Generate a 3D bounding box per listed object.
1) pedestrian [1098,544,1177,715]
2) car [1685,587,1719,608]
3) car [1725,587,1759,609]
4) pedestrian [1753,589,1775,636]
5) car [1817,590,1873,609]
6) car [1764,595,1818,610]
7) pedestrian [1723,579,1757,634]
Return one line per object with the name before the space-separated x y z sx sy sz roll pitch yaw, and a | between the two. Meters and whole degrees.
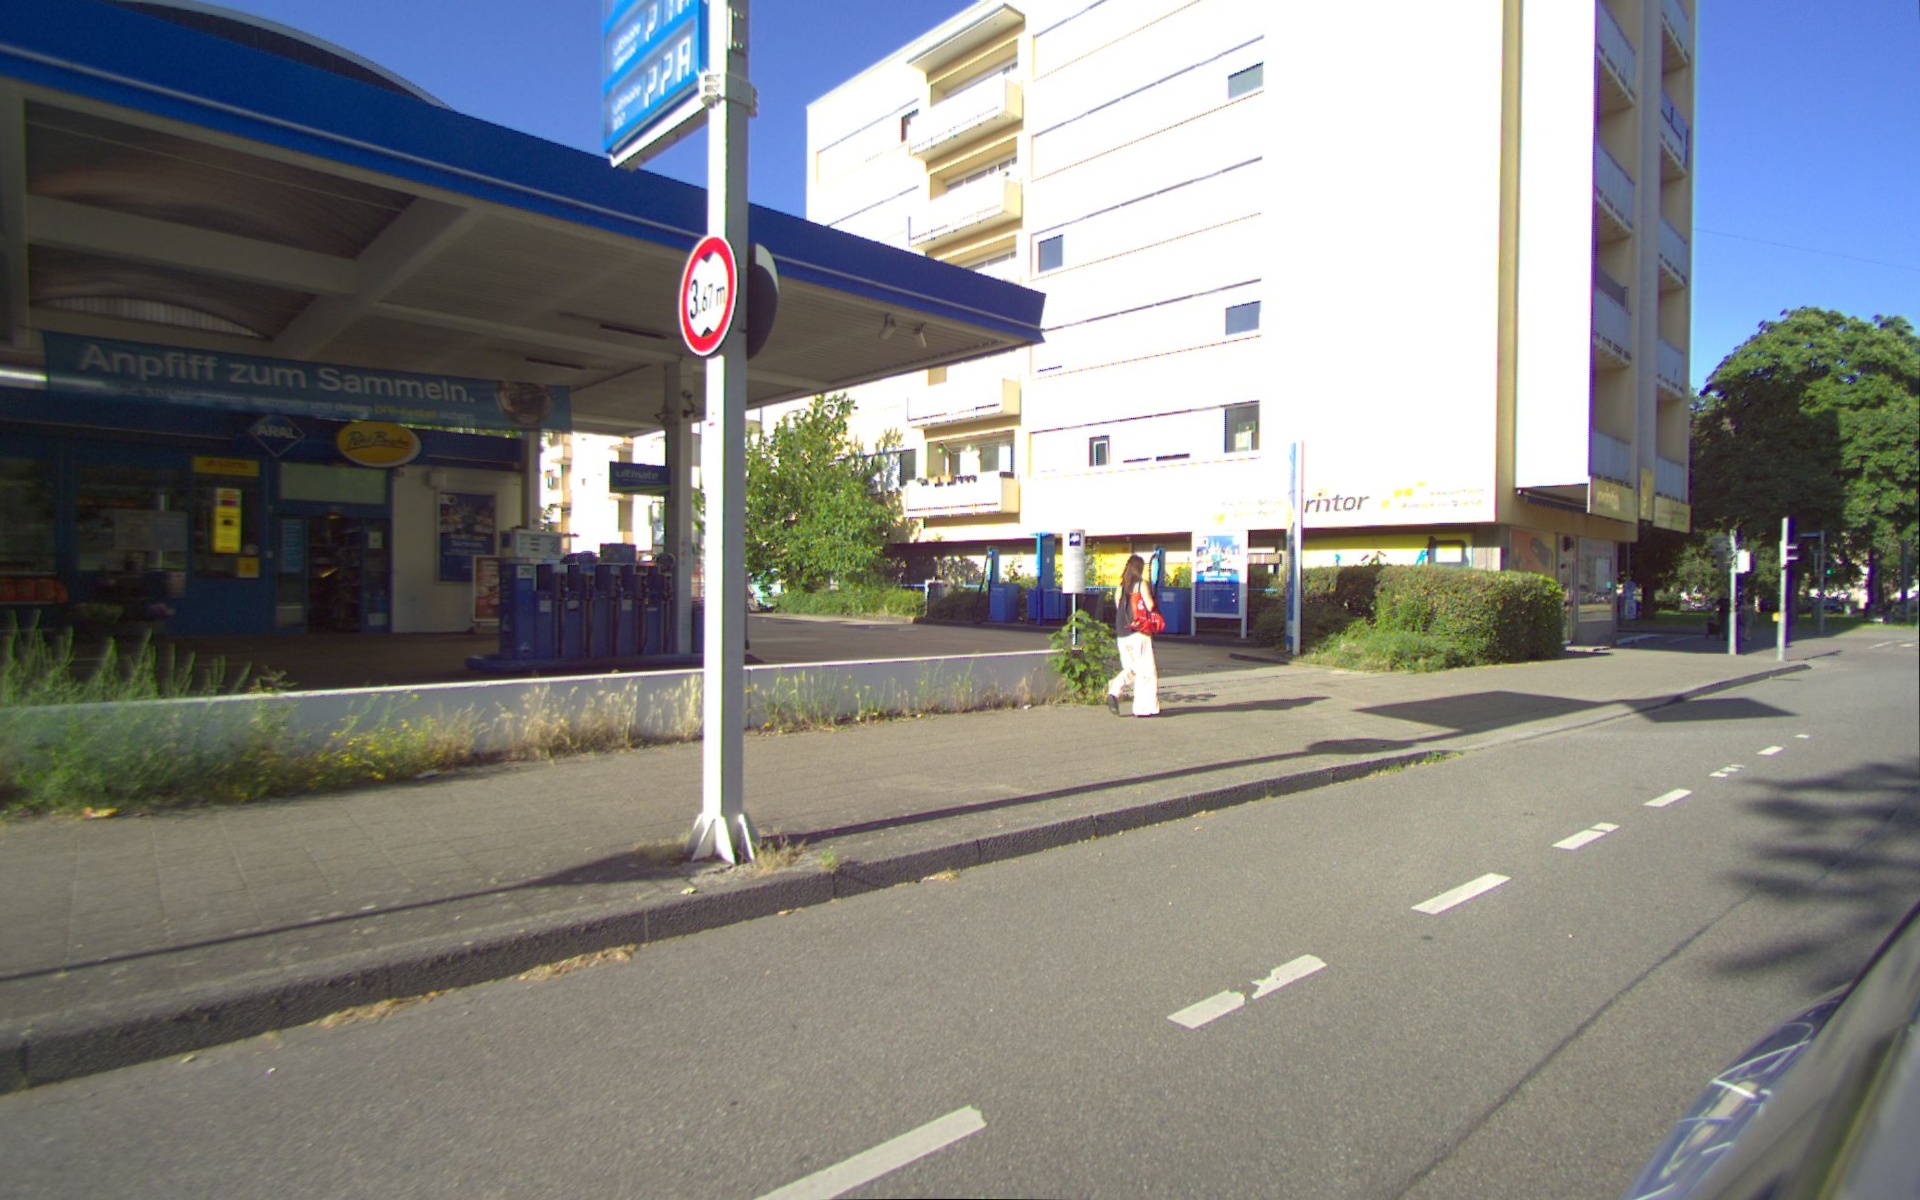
pedestrian | 1.852 0.293 10.592 0.542 1.723 0.606 0 0 -37
car | 62.544 -0.202 85.376 1.985 1.720 4.228 1 1 32
car | 63.341 -0.191 82.006 1.988 1.720 4.223 1 1 35
pedestrian | 27.691 0.415 34.855 0.501 1.565 0.513 2 2 32
car | 65.894 -0.029 75.355 4.193 1.340 2.002 0 1 -32
car | 64.235 0.164 78.247 4.193 1.080 2.002 0 1 -32
pedestrian | 27.134 0.222 35.219 0.784 1.850 1.022 2 3 32
